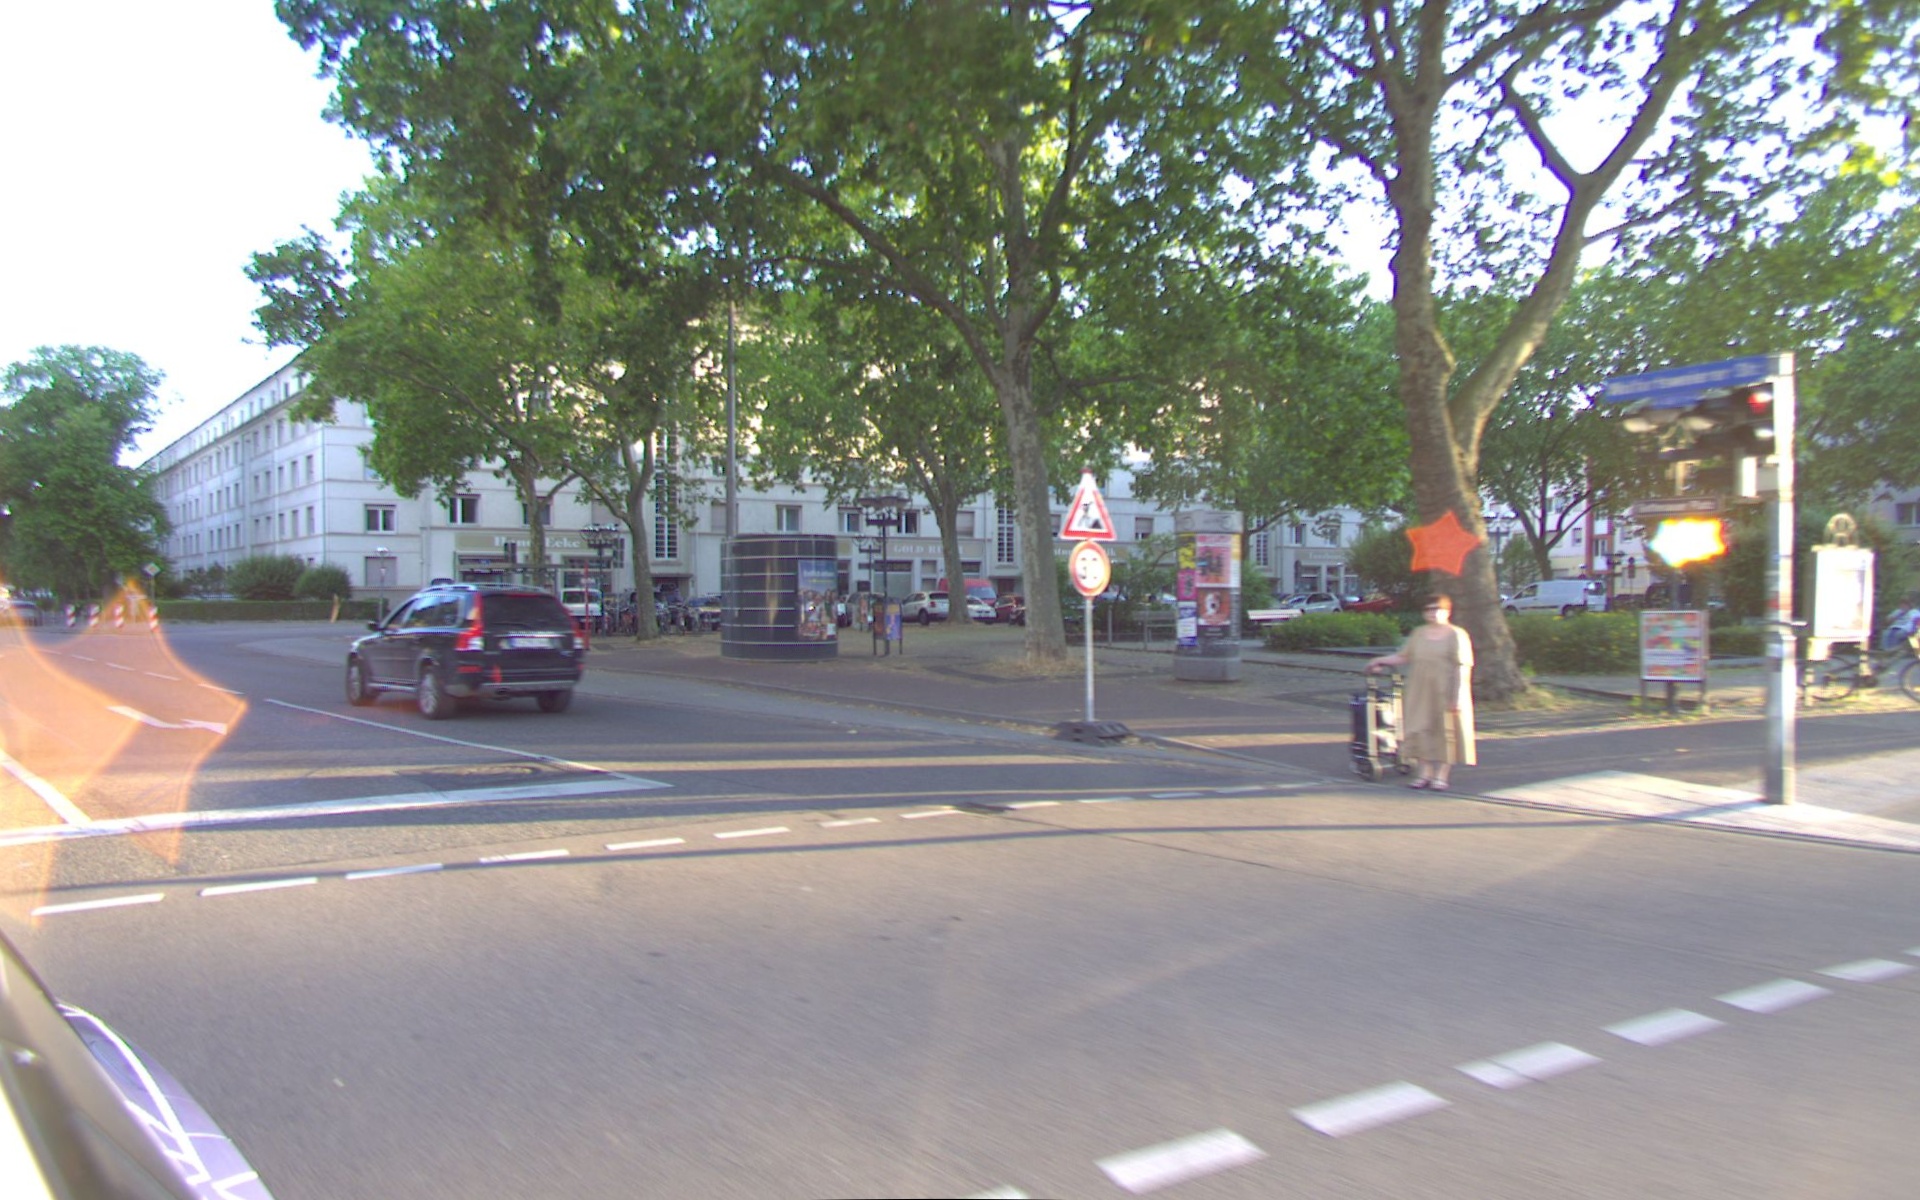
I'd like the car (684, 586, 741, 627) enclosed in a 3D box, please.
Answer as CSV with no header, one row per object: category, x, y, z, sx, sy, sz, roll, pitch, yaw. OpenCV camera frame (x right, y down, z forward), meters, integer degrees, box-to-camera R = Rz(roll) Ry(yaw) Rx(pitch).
car,-12.991,0.312,52.903,1.965,1.970,4.657,1,2,-25

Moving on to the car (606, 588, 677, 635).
car,-13.129,0.520,41.529,1.965,1.795,4.655,1,-2,-27

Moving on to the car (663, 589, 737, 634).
car,-10.957,0.526,42.396,1.965,1.795,4.655,1,-2,-27

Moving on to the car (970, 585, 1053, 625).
car,2.423,0.295,49.147,1.965,1.795,4.655,1,-2,-27

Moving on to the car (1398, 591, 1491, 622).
car,29.176,0.411,61.088,1.968,1.748,4.649,1,-2,-39

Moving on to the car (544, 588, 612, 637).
car,-15.197,0.531,40.107,1.965,1.795,4.655,1,-2,-27

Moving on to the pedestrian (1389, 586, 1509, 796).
pedestrian,4.114,0.707,8.509,0.772,1.640,0.794,1,2,37

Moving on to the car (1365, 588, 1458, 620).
car,26.760,0.283,60.072,1.967,1.824,4.659,1,-2,-37

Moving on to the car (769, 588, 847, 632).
car,-6.743,0.480,44.488,1.965,1.795,4.655,1,-2,-27

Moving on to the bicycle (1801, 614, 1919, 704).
bicycle,12.060,0.751,13.103,1.798,1.101,0.453,1,2,40

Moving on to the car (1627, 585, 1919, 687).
car,16.391,0.704,20.344,1.965,1.795,4.656,1,-2,-23

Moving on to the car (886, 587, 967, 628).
car,-1.625,0.414,46.986,1.965,1.795,4.655,1,-2,-27

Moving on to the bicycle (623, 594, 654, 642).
bicycle,-11.735,0.618,36.931,0.795,1.626,2.754,-1,1,-23

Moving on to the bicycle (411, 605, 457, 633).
bicycle,-23.990,0.853,46.165,1.776,1.215,0.649,-1,1,-15

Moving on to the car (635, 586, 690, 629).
car,-15.300,0.353,51.946,1.965,1.970,4.657,1,2,-25

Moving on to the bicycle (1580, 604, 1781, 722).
bicycle,9.038,0.747,12.773,0.519,1.336,1.996,-2,2,-43

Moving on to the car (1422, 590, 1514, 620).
car,31.261,0.361,62.385,1.968,1.748,4.649,1,-2,-39

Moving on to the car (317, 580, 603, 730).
car,-7.234,0.675,14.406,4.795,1.798,1.973,-1,-1,41

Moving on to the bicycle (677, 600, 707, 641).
bicycle,-10.067,0.736,37.935,0.680,1.394,2.754,-1,1,-23

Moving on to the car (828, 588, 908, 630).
car,-4.221,0.464,45.531,1.965,1.795,4.655,1,-2,-27

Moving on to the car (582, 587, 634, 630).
car,-17.730,0.399,50.805,1.965,1.970,4.657,1,2,-25

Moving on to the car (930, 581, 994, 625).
car,0.075,0.127,60.261,1.965,2.460,4.657,1,2,-25

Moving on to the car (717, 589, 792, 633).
car,-8.885,0.505,43.443,1.965,1.795,4.655,1,-2,-27

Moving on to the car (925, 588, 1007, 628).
car,0.241,0.444,48.375,1.965,1.795,4.655,1,-2,-27

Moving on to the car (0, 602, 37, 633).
car,-54.237,1.002,58.044,1.866,1.612,4.004,-2,2,-43

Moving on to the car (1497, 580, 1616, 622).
car,29.246,0.102,49.776,1.965,1.953,4.655,1,-2,-27

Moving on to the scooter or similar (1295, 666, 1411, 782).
scooter or similar,3.539,1.090,9.122,0.850,0.904,0.586,1,2,37

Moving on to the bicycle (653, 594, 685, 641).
bicycle,-10.787,0.627,37.431,0.795,1.626,2.754,-1,1,-23

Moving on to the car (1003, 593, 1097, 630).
car,3.906,0.470,43.996,3.696,1.540,1.680,0,1,-22

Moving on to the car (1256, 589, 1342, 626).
car,16.313,0.349,48.686,3.696,1.674,1.680,-1,1,-22
